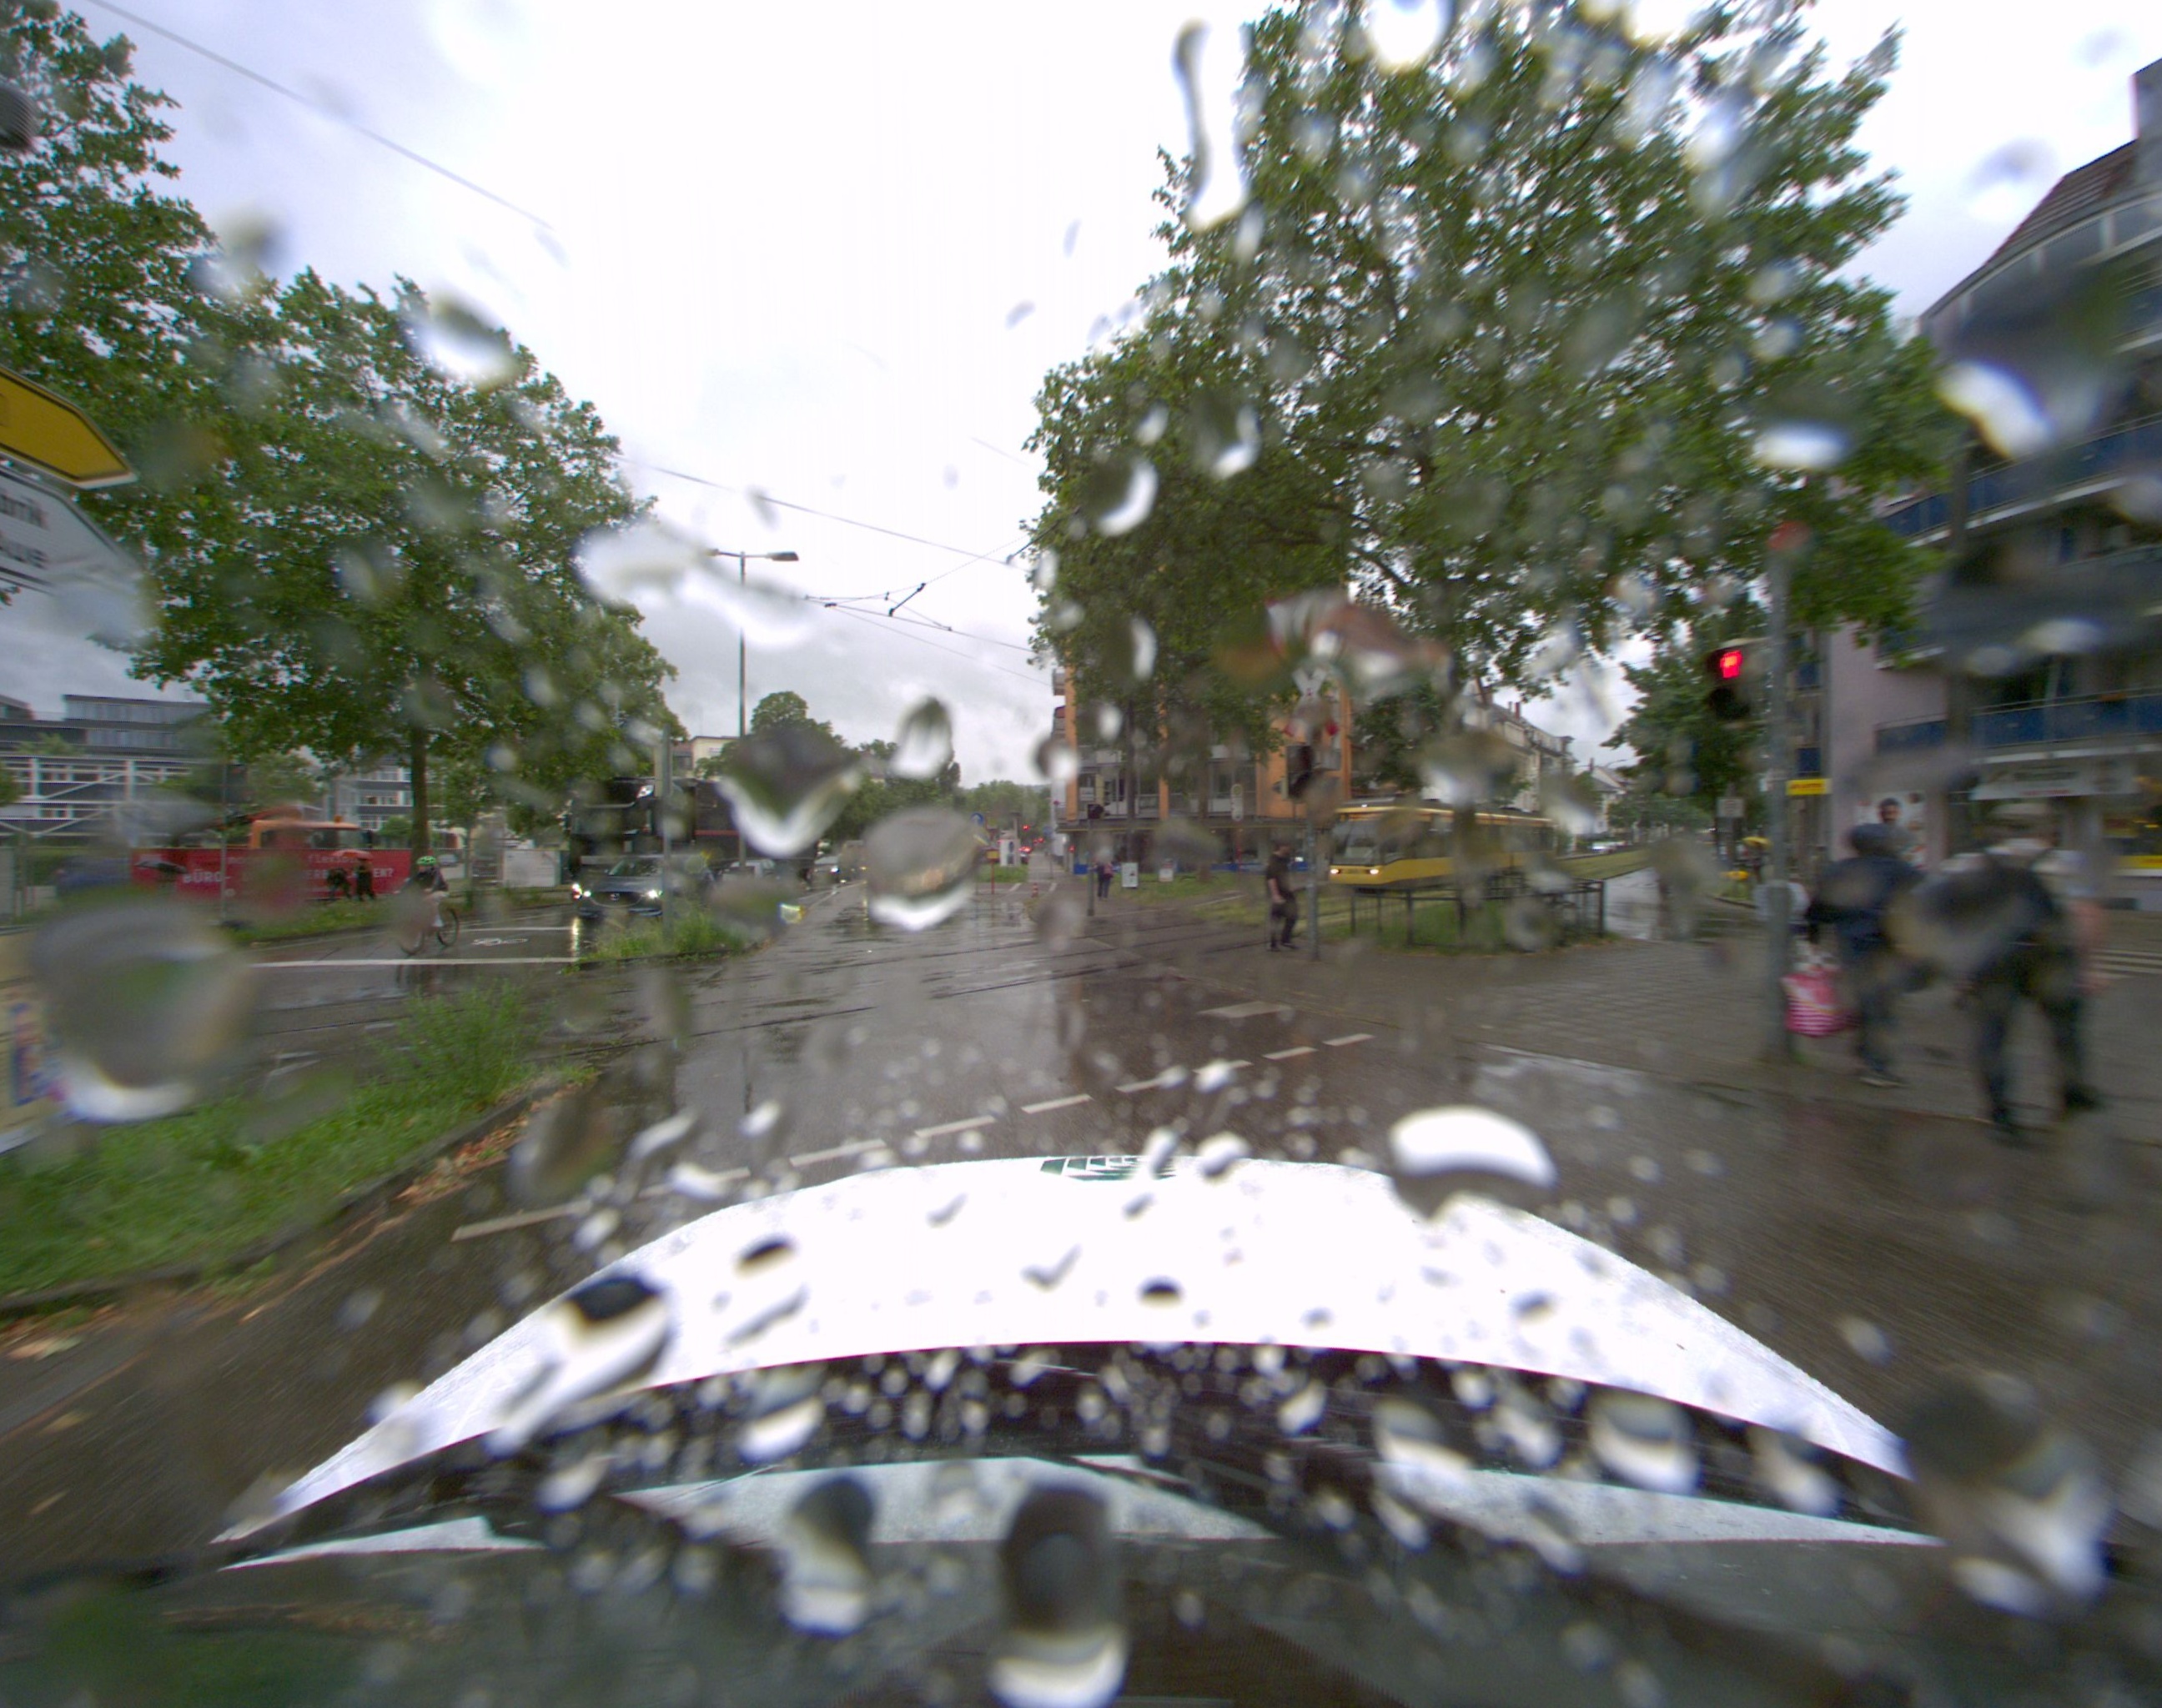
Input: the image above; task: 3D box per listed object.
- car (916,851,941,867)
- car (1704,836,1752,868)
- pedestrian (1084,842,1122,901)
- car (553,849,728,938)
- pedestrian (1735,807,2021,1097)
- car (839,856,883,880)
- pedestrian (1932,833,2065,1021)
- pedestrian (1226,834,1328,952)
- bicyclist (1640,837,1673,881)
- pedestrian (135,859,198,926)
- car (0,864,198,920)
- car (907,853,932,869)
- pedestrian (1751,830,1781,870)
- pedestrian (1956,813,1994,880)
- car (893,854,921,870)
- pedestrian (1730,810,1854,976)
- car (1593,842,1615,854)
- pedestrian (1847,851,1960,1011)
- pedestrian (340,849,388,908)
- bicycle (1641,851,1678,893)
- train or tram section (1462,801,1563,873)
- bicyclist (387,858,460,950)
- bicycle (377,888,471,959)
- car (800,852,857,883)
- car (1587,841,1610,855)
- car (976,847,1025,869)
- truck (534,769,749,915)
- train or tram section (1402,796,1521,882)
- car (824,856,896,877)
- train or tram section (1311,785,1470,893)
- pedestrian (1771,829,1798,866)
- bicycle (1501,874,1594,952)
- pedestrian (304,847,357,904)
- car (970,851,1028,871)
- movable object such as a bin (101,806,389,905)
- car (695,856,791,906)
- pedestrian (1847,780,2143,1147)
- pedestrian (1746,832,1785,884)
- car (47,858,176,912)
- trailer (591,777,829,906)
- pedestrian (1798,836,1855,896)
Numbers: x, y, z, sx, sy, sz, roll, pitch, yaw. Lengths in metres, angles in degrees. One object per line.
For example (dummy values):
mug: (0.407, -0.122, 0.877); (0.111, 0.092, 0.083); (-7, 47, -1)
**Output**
car: (-16.188, 0.513, 86.655); (1.909, 1.639, 4.818); (0, 0, -2)
car: (35.741, -0.105, 44.959); (1.974, 1.673, 4.025); (-1, 0, 39)
pedestrian: (0.705, 0.561, 26.858); (1.167, 1.865, 1.384); (-1, 0, -3)
car: (-10.113, 0.802, 19.218); (2.073, 1.682, 4.915); (1, 2, -9)
pedestrian: (5.248, 0.560, 5.411); (1.056, 1.686, 0.989); (-2, 1, -20)
car: (-14.090, 0.867, 52.328); (1.722, 1.361, 4.335); (-2, 1, -1)
pedestrian: (8.111, 0.599, 7.235); (0.684, 1.547, 0.766); (-1, 1, 42)
pedestrian: (3.144, 0.590, 13.157); (1.040, 1.788, 1.226); (-1, 0, -27)
bicyclist: (17.755, 0.150, 25.140); (0.733, 1.309, 1.084); (-1, 1, 30)
pedestrian: (-21.433, 0.888, 19.094); (0.635, 1.515, 0.775); (-1, 0, 19)
car: (-25.482, 0.949, 20.956); (3.637, 1.321, 1.846); (0, 1, 4)
car: (-15.775, 0.642, 79.832); (1.775, 1.420, 4.261); (-1, 1, -3)
pedestrian: (29.588, -0.193, 35.177); (0.910, 1.697, 0.961); (-1, 1, 44)
pedestrian: (21.902, -0.183, 19.957); (0.594, 1.602, 0.469); (-1, 0, -24)
car: (-15.448, 0.708, 72.539); (1.772, 1.403, 4.822); (0, 0, -5)
pedestrian: (7.091, 0.346, 8.169); (0.867, 1.525, 1.071); (-1, 1, 40)
car: (62.578, -0.768, 97.415); (1.974, 1.397, 4.026); (0, 1, 36)
pedestrian: (7.800, 0.676, 7.763); (0.665, 1.381, 1.017); (-1, 1, 41)
pedestrian: (-20.834, 0.690, 23.674); (0.744, 1.649, 0.914); (-1, 0, 41)
bicycle: (17.912, 0.537, 25.242); (0.743, 1.173, 2.054); (-1, 1, 30)
train or tram section: (22.933, -0.872, 42.954); (2.612, 3.351, 10.050); (0, 1, 40)
bicyclist: (-11.096, 0.811, 13.778); (0.580, 1.461, 1.005); (-1, 0, -16)
bicycle: (-11.090, 1.135, 13.820); (0.533, 1.024, 1.864); (-1, 1, -16)
car: (-14.060, 0.780, 45.603); (1.862, 1.619, 4.798); (-1, -1, -2)
car: (58.967, -0.712, 92.834); (1.974, 1.533, 4.026); (0, 1, 36)
car: (-7.127, 0.317, 71.953); (4.228, 1.805, 1.940); (-2, 0, -7)
truck: (-13.777, -0.394, 26.425); (3.443, 4.078, 6.966); (0, 1, -3)
train or tram section: (16.955, -0.634, 35.900); (2.612, 3.351, 8.429); (0, 1, 40)
car: (-15.820, 0.899, 58.202); (4.865, 1.454, 2.099); (-1, 1, 29)
train or tram section: (11.459, -0.518, 29.524); (2.612, 3.369, 8.428); (0, 1, 41)
pedestrian: (33.137, -0.322, 38.372); (0.909, 1.697, 0.962); (-1, 1, 39)
bicycle: (7.109, 0.872, 12.385); (1.623, 1.077, 0.442); (-1, 0, -29)
pedestrian: (-21.717, 0.611, 23.581); (0.635, 1.581, 0.885); (-1, 0, 19)
car: (-6.536, 0.544, 65.540); (4.523, 1.470, 1.981); (-1, 0, -4)
movable object such as a bin: (-26.263, 0.054, 25.753); (6.720, 2.930, 2.781); (0, 1, 7)
car: (-10.615, 0.800, 25.874); (1.696, 1.373, 4.090); (-1, 1, -7)
pedestrian: (5.044, 0.516, 4.521); (0.995, 1.781, 0.806); (-2, 1, -23)
pedestrian: (22.823, 0.114, 27.178); (0.943, 1.697, 0.927); (-1, 1, 39)
car: (-37.188, 1.132, 31.384); (2.007, 1.792, 3.960); (-2, 2, -32)
trailer: (-14.112, -0.490, 33.409); (3.434, 4.048, 15.035); (-1, 1, -3)
pedestrian: (19.826, 0.312, 21.683); (0.982, 1.559, 0.789); (-1, 0, 31)
